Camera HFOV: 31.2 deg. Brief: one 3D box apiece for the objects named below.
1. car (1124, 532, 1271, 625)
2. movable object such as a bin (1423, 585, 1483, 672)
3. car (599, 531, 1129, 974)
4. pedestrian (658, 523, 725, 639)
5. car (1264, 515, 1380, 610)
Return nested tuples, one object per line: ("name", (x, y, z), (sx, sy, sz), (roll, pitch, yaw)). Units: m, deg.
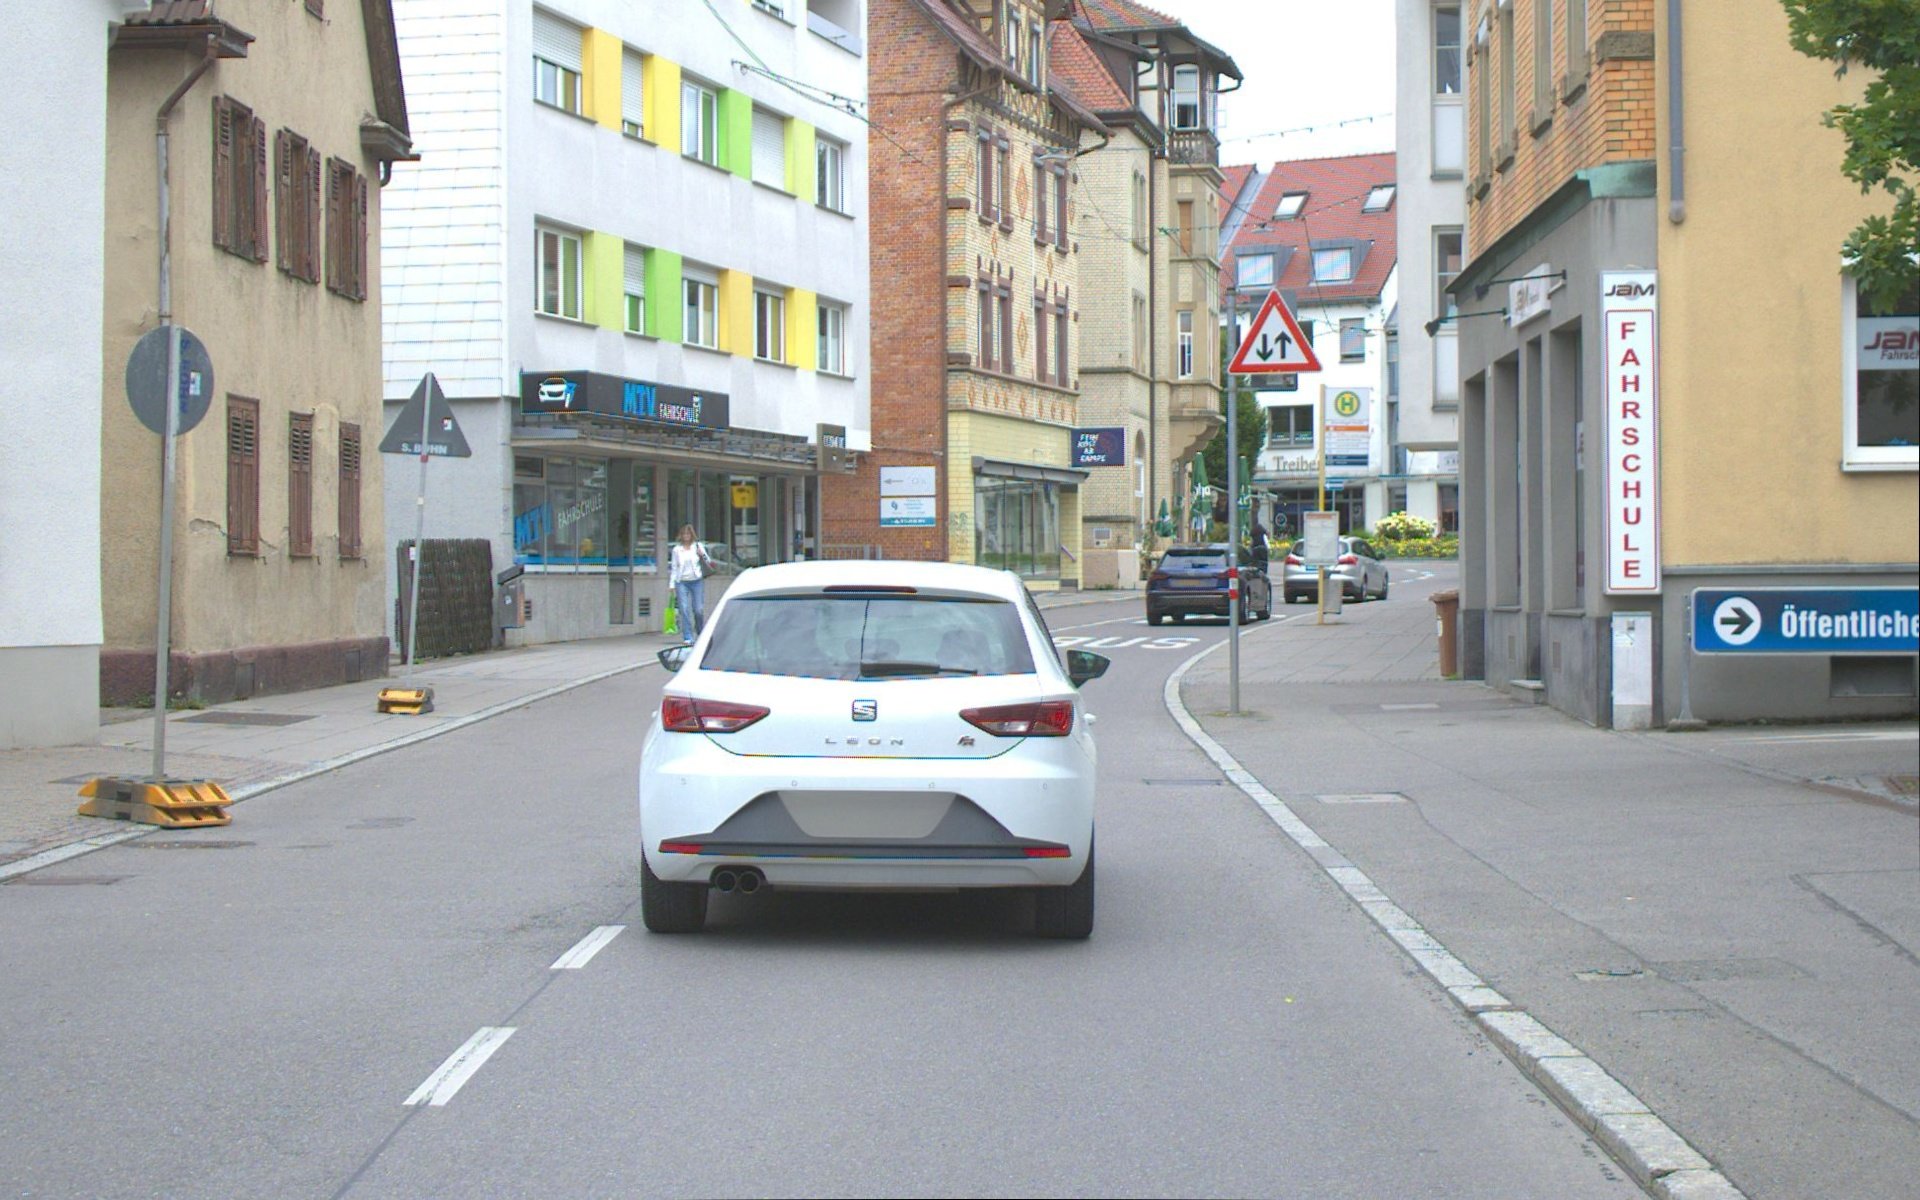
("car", (4.163, -0.399, 59.726), (1.813, 1.475, 3.868), (0, 2, 15))
("movable object such as a bin", (5.320, 0.309, 37.127), (0.620, 0.918, 0.581), (0, 1, 7))
("car", (-0.256, 0.505, 14.245), (1.812, 1.475, 3.870), (1, 2, 4))
("pedestrian", (-3.889, -0.285, 49.779), (0.892, 1.659, 0.861), (-1, 1, 0))
("car", (7.933, -0.839, 75.038), (1.995, 2.007, 3.998), (0, 1, 14))
